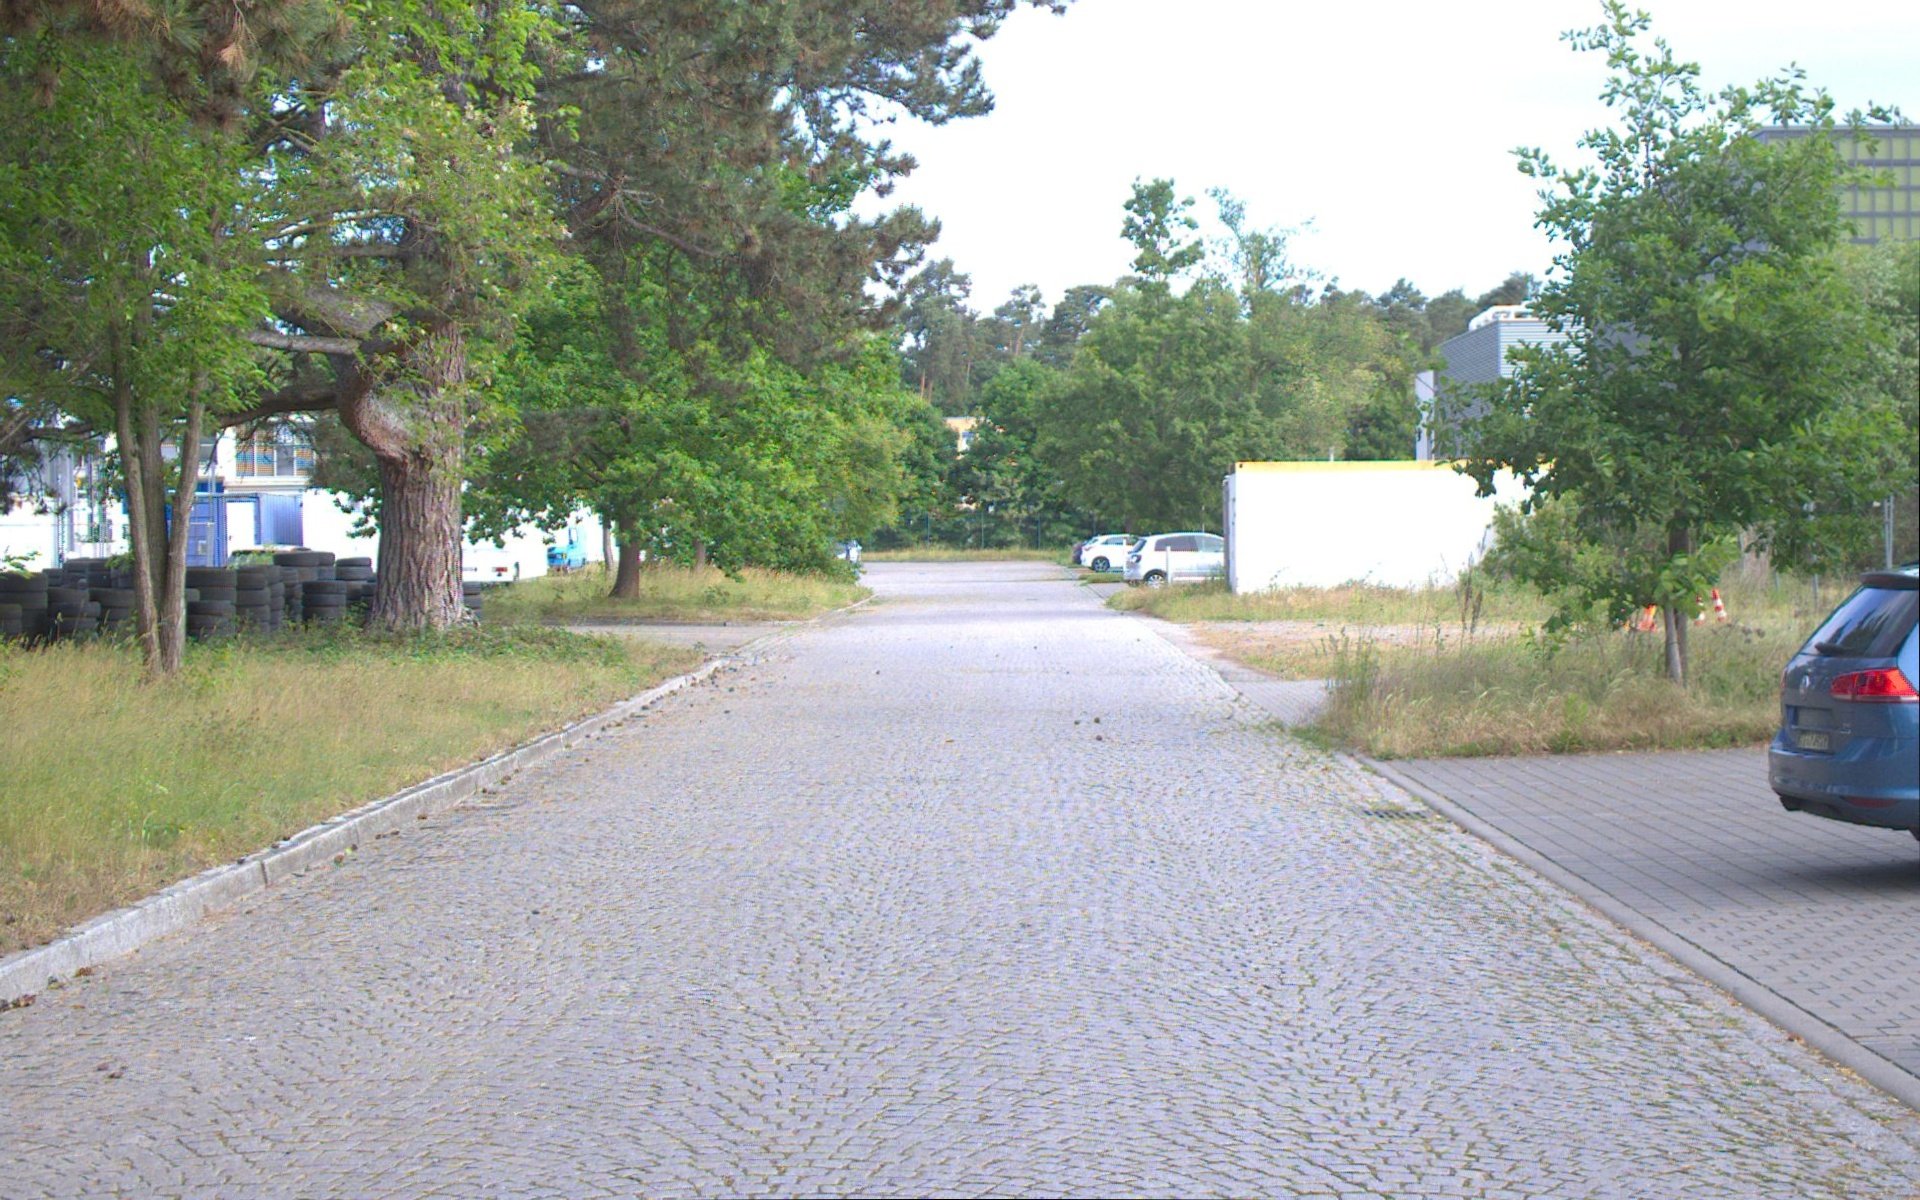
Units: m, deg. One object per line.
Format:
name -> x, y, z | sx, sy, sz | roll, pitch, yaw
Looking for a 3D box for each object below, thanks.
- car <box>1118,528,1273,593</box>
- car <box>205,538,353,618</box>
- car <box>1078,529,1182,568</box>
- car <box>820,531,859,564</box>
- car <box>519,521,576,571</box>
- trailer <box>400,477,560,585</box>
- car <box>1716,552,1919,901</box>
car -> 6.090, -1.029, 89.155 | 3.849, 1.649, 1.686 | 0, 1, -2
car -> -12.778, -0.438, 64.683 | 1.767, 1.448, 3.487 | 0, 1, 6
car -> 6.675, -2.033, 135.295 | 4.025, 1.496, 1.548 | 0, 1, 2
car -> -5.730, -2.502, 163.911 | 1.803, 1.529, 4.000 | 0, 1, -2
car -> -17.121, -2.255, 142.930 | 1.925, 2.040, 4.601 | 0, 1, -2
trailer -> -14.152, -2.055, 102.141 | 3.159, 3.057, 8.784 | 0, 1, 2
car -> 5.941, 0.454, 15.633 | 4.521, 1.438, 1.824 | -2, 1, -2
